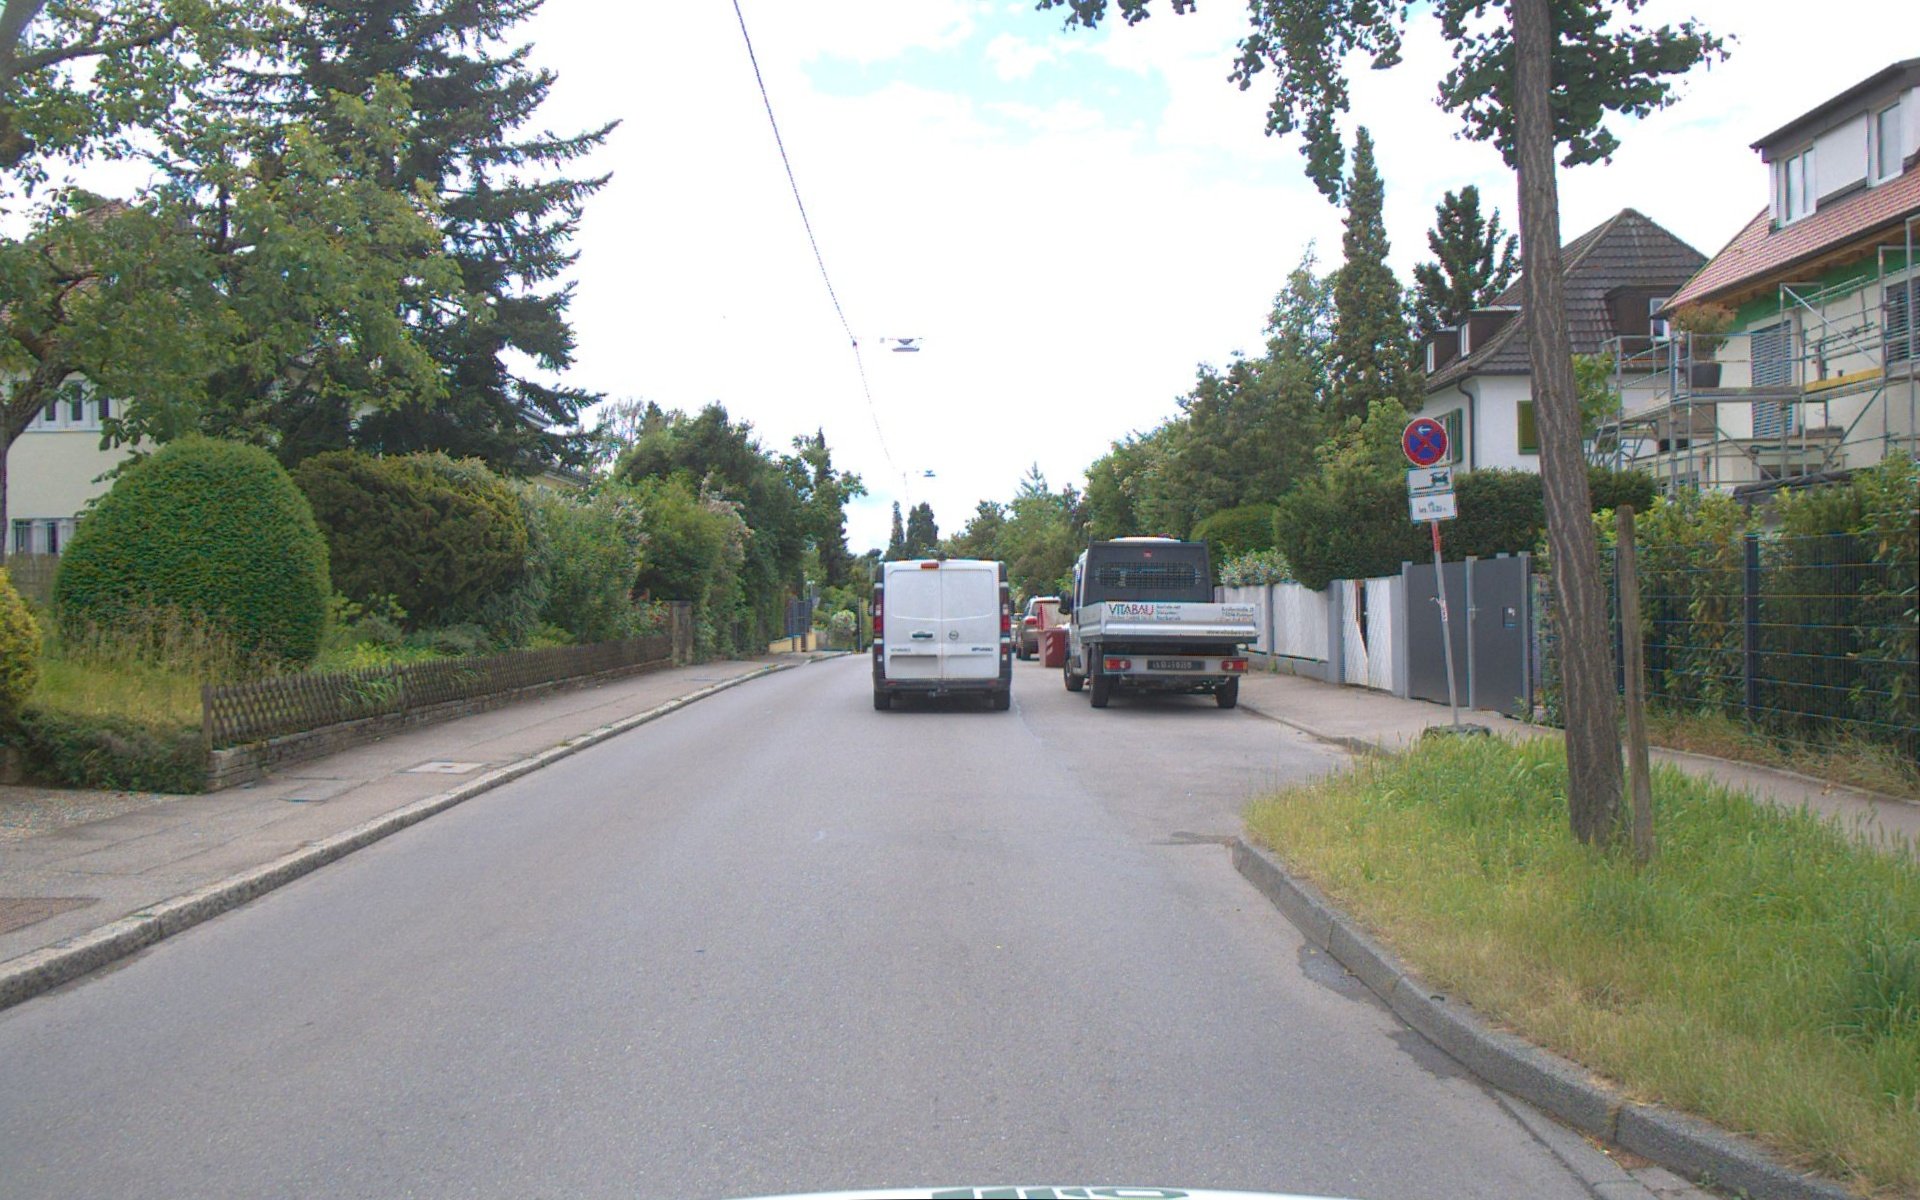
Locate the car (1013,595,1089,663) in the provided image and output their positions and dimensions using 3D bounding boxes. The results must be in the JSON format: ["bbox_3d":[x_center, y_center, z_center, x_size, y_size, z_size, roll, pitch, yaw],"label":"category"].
[{"bbox_3d":[2.442,0.786,45.172,1.709,1.704,4.183,-2,-1,-2],"label":"car"}]

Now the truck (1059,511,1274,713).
[{"bbox_3d":[2.802,0.170,24.347,2.143,2.515,7.429,0,0,-1],"label":"truck"}]

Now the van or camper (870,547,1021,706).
[{"bbox_3d":[-0.236,0.390,23.128,1.900,1.988,4.763,0,-2,-1],"label":"van or camper"}]

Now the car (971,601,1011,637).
[{"bbox_3d":[1.489,0.936,80.856,1.709,1.658,4.257,-2,-1,-1],"label":"car"}]

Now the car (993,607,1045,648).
[{"bbox_3d":[2.257,1.069,63.712,1.709,1.472,4.257,-2,-1,-1],"label":"car"}]
